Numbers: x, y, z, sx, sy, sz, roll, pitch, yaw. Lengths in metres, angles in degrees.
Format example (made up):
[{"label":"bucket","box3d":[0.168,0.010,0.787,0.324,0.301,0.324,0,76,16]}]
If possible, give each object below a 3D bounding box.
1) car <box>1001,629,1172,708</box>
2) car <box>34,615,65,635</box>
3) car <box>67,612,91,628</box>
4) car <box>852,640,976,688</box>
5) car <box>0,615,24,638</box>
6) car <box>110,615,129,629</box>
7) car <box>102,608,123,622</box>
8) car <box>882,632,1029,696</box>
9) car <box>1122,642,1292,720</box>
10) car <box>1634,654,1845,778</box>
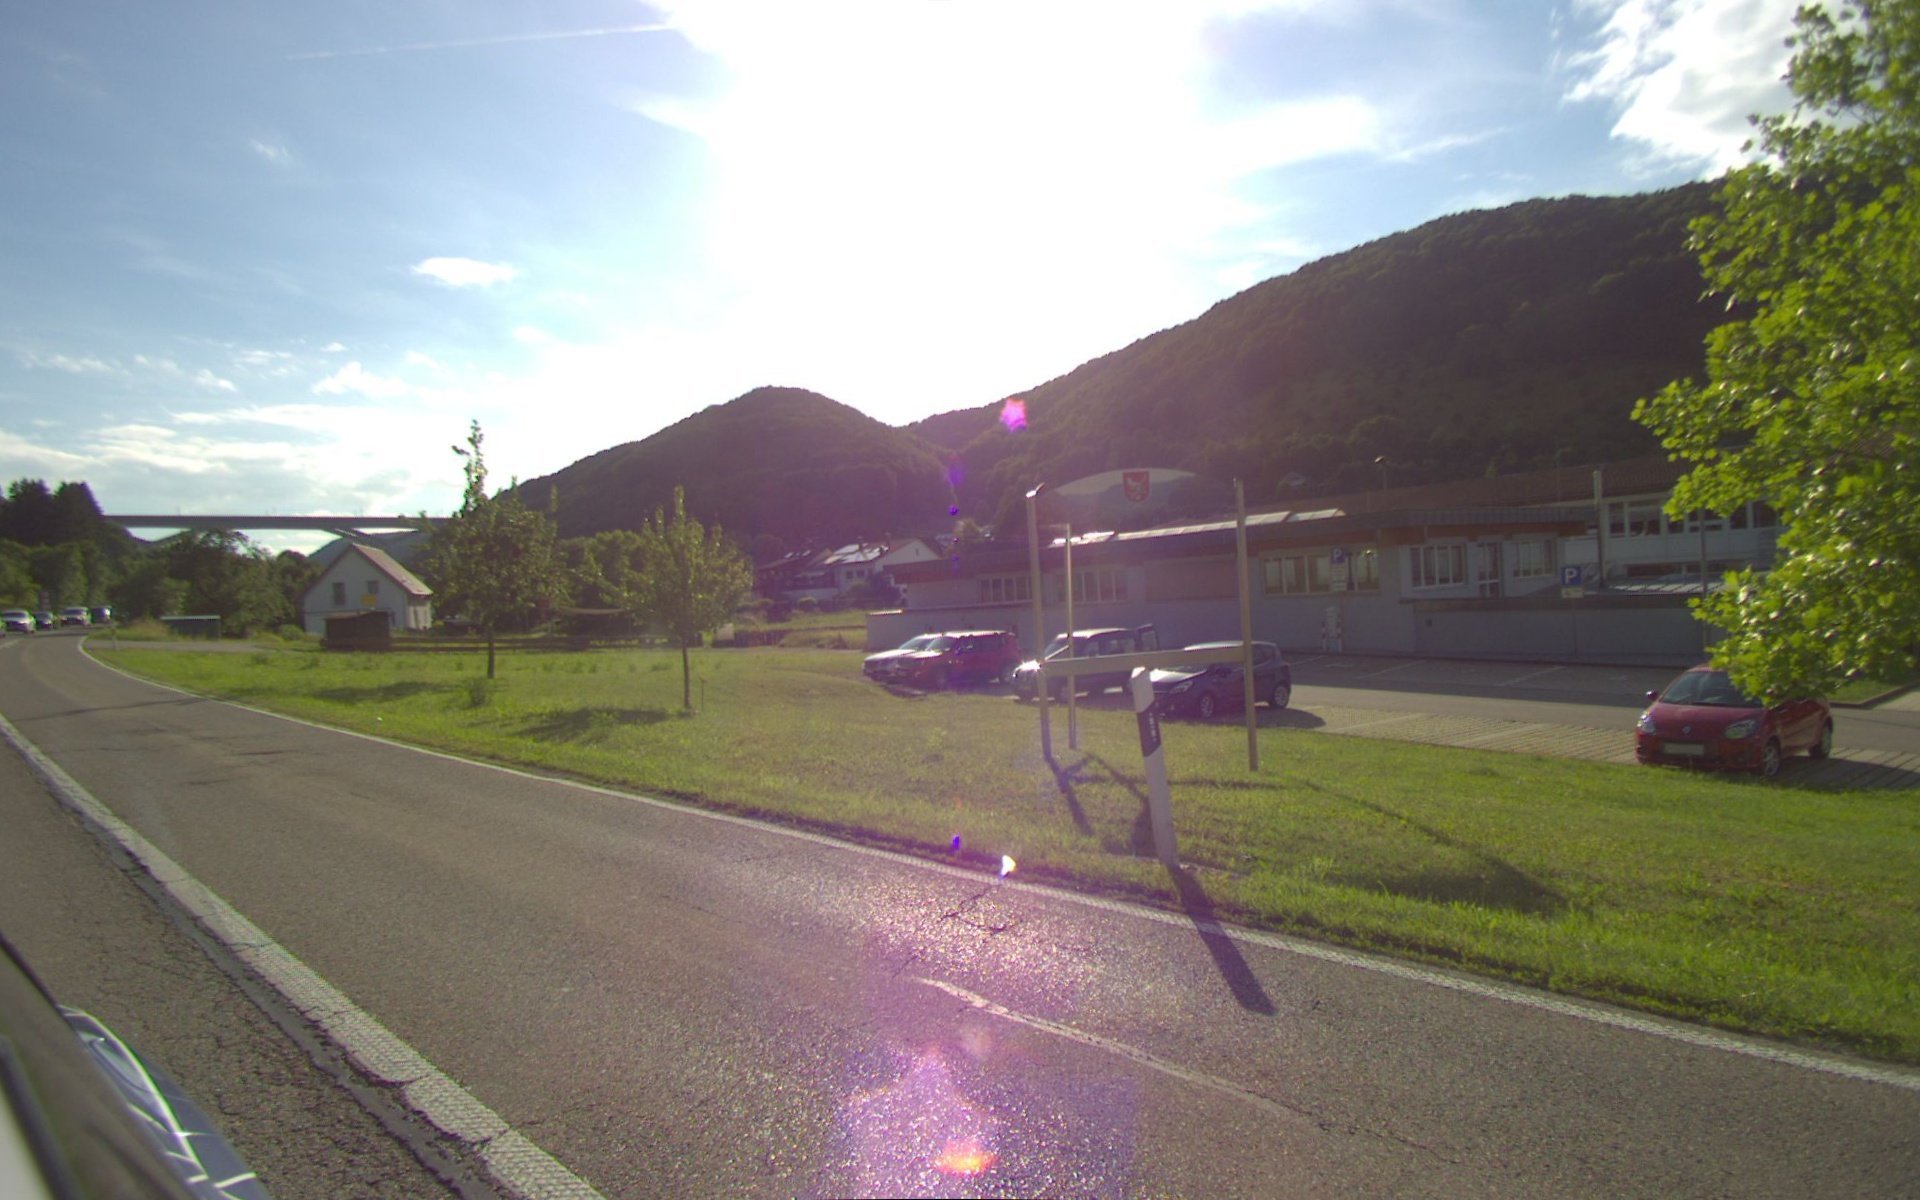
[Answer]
[{"label":"car","box3d":[3.530,1.771,27.576,4.928,1.807,1.687,-1,0,-40]},{"label":"car","box3d":[-73.237,1.979,81.393,1.605,1.490,3.686,-1,0,-38]},{"label":"car","box3d":[-82.907,1.858,95.201,1.606,1.490,3.683,-1,0,-43]},{"label":"car","box3d":[-1.539,2.132,34.393,3.835,1.379,1.857,0,0,-37]},{"label":"car","box3d":[-64.823,1.812,68.780,3.681,1.490,1.608,-1,0,45]},{"label":"car","box3d":[-97.713,2.573,117.674,1.605,1.490,3.686,-1,0,-38]},{"label":"car","box3d":[-90.157,1.574,107.724,1.605,1.490,3.686,-1,0,-38]},{"label":"car","box3d":[-0.108,1.941,31.643,4.263,1.682,1.853,-1,0,-34]},{"label":"car","box3d":[5.685,1.781,23.059,3.957,1.463,1.687,-1,-2,-40]},{"label":"car","box3d":[11.710,1.623,15.142,3.672,1.408,1.619,-1,0,-38]}]
